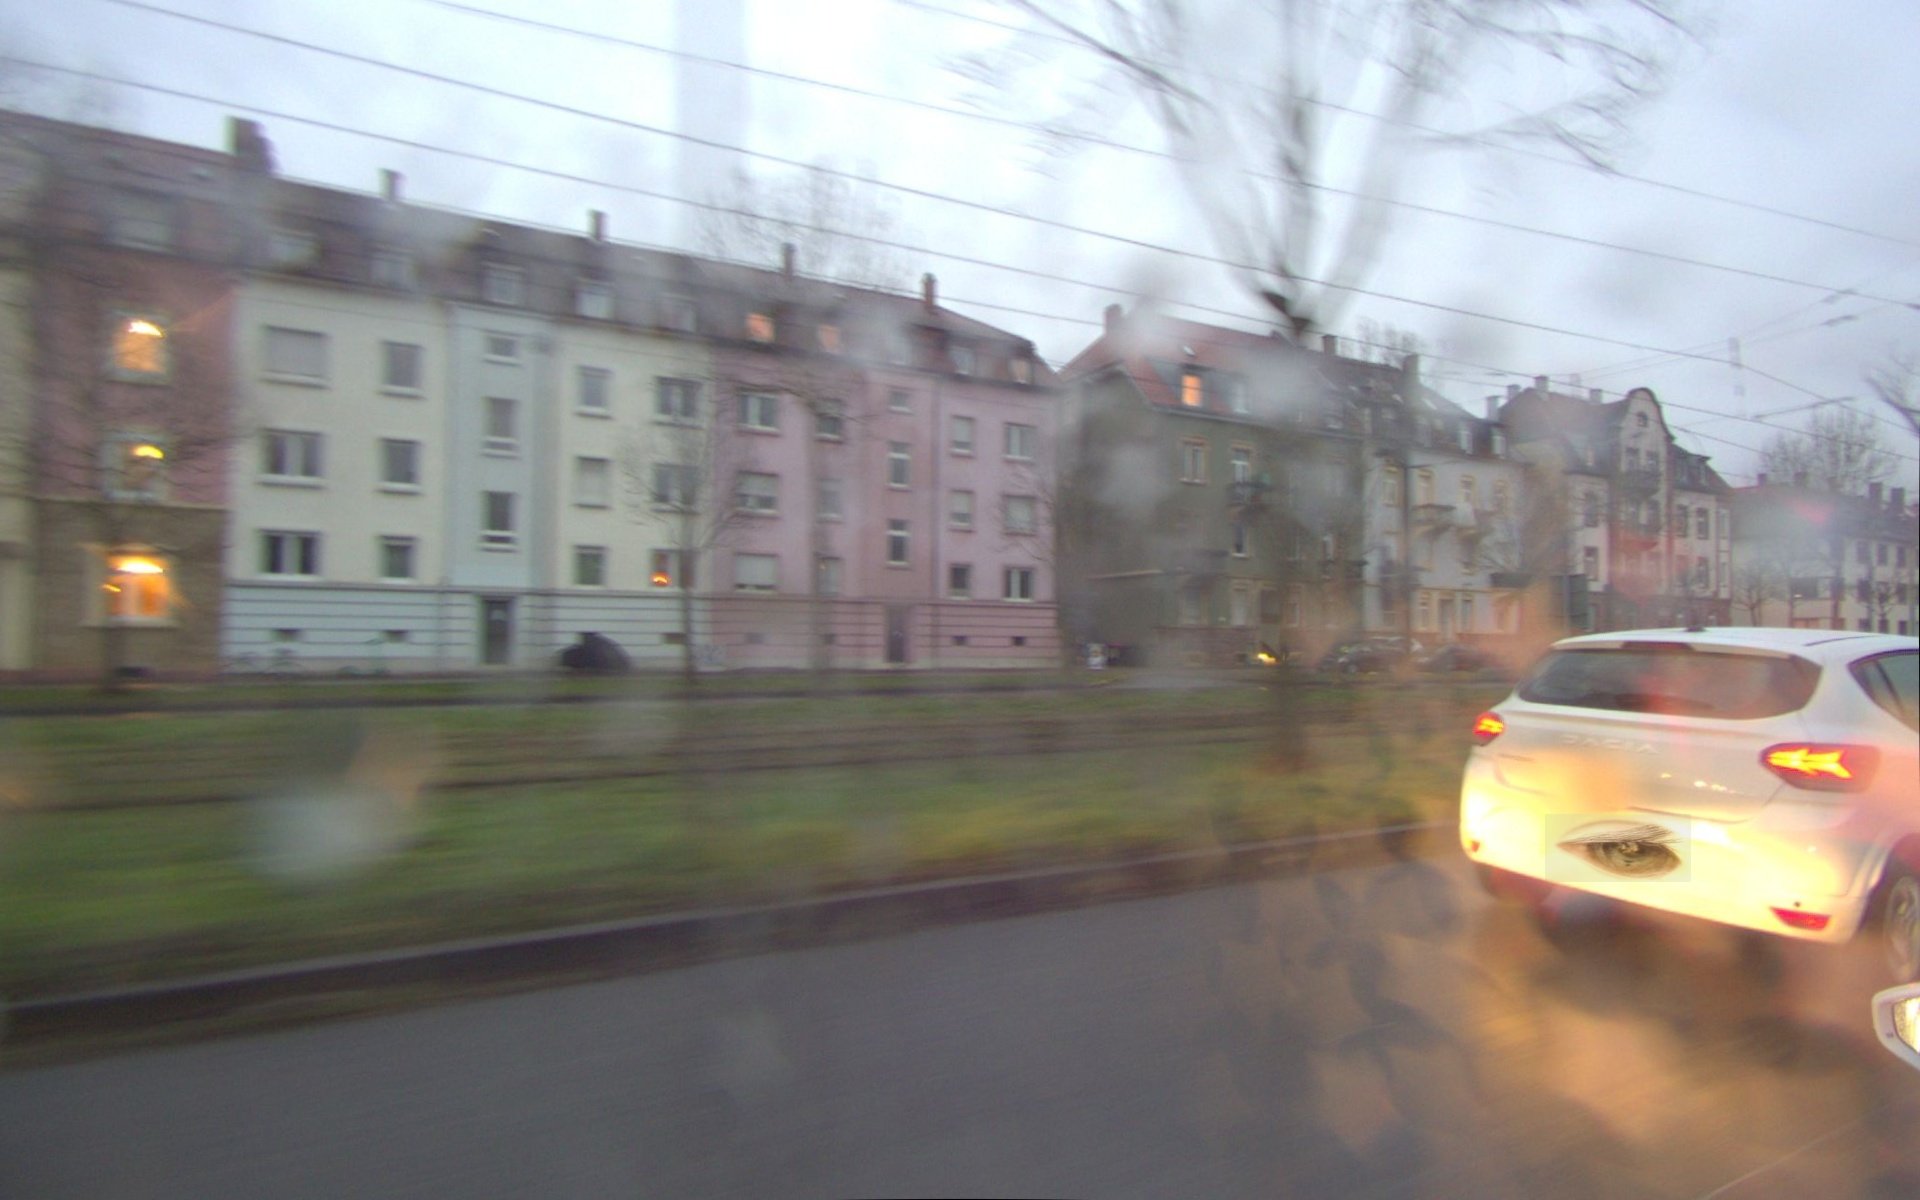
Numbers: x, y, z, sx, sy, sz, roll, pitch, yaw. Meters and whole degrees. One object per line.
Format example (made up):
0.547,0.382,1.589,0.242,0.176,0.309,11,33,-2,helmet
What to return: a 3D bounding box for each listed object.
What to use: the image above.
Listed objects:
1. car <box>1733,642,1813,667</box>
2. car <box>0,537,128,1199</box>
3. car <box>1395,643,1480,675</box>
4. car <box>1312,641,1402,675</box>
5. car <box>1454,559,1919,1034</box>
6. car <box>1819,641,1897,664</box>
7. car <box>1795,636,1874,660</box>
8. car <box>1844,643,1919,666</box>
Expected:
45.262,3.011,56.005,1.746,1.372,3.559,0,-2,6,car
-3.929,0.621,1.363,4.006,1.621,1.800,2,-1,-31,car
21.637,2.648,45.495,3.513,1.372,1.769,1,-3,-29,car
16.980,2.456,42.924,3.513,1.372,1.769,1,-3,-29,car
4.533,0.735,5.195,4.007,1.621,1.663,2,-1,-31,car
54.496,3.151,61.012,1.746,1.372,3.559,0,-2,6,car
51.610,2.821,59.357,1.746,1.372,3.559,0,-2,6,car
57.640,3.383,62.805,1.746,1.372,3.559,0,-2,6,car
